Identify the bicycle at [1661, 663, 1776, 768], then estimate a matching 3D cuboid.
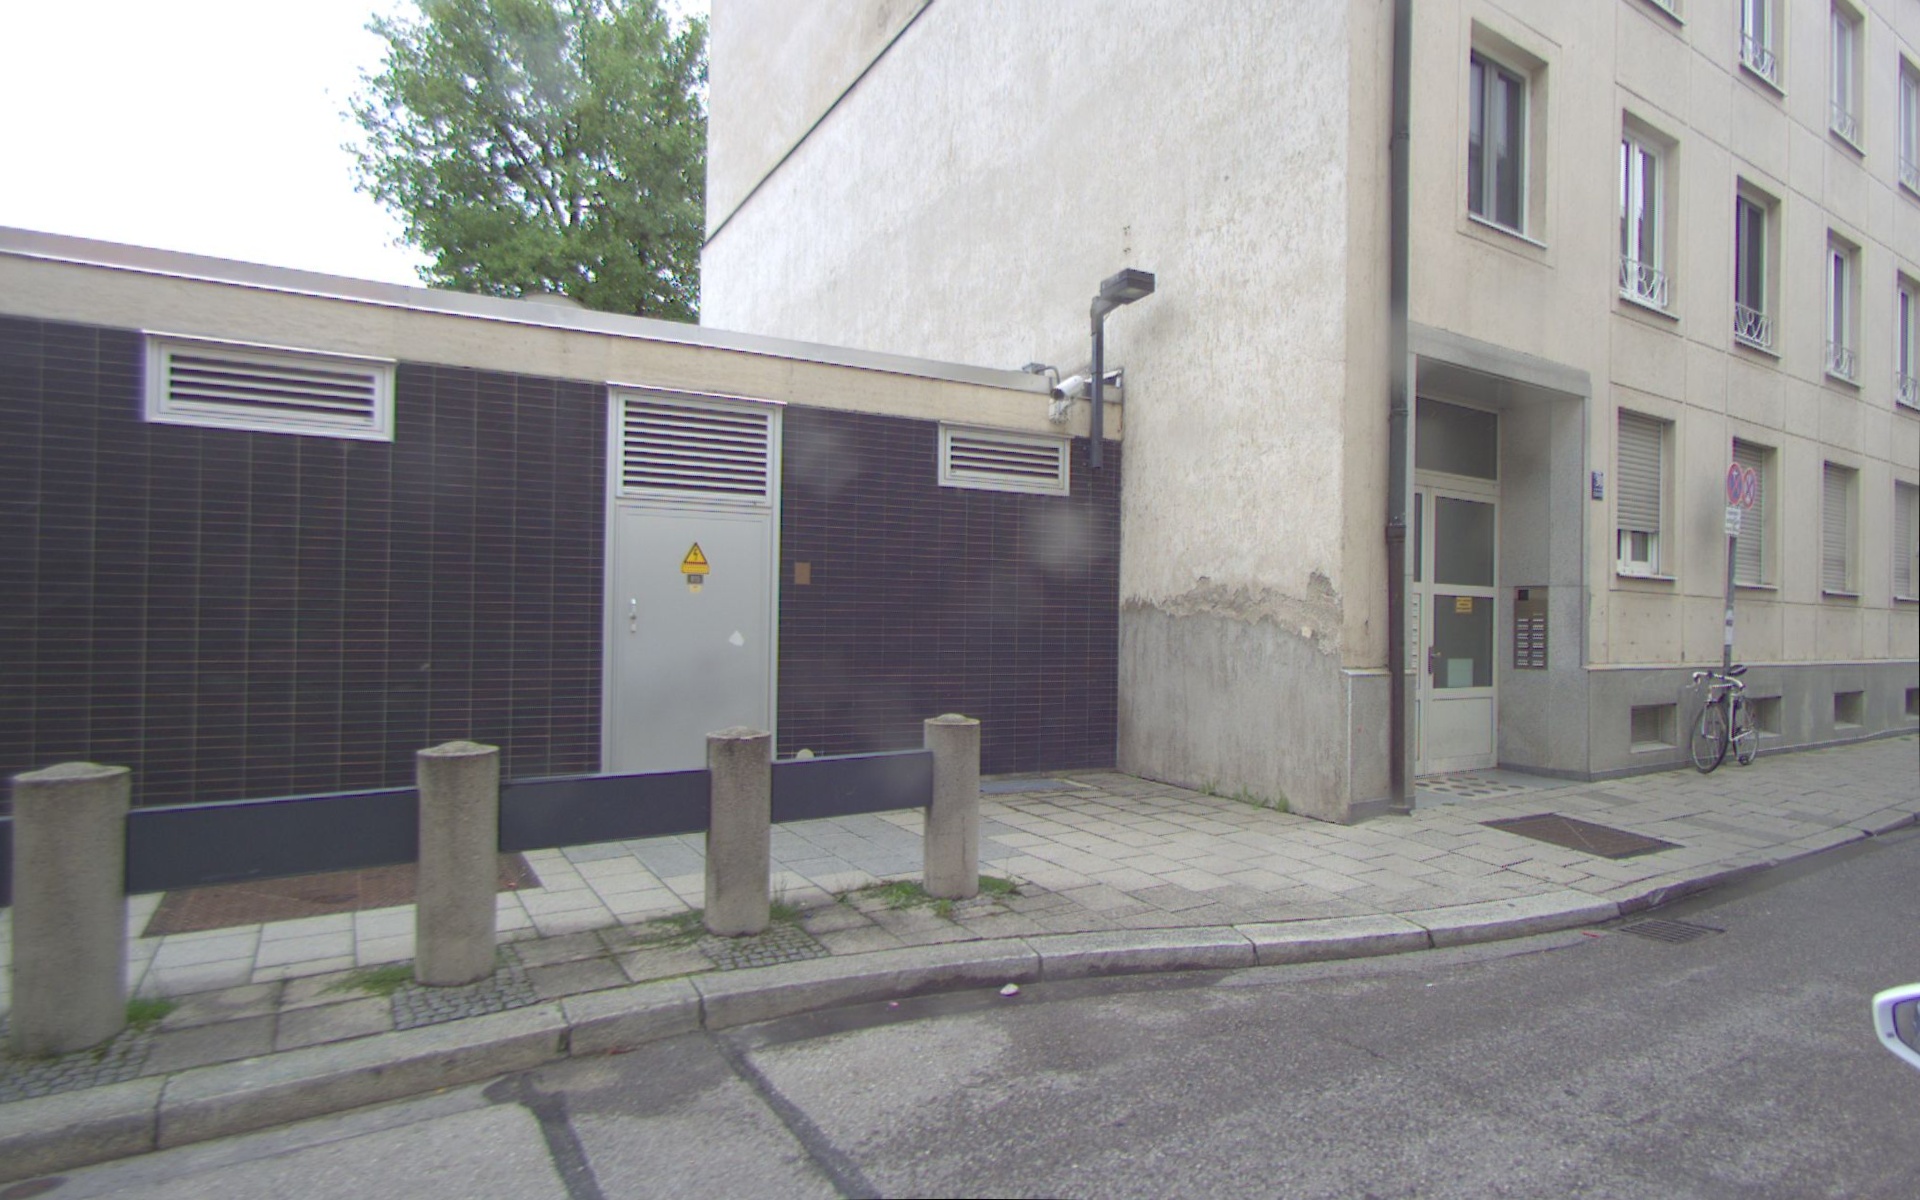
[{"bbox_3d":[7.632,1.134,10.090,1.555,0.956,0.318,1,2,-31],"label":"bicycle"}]
